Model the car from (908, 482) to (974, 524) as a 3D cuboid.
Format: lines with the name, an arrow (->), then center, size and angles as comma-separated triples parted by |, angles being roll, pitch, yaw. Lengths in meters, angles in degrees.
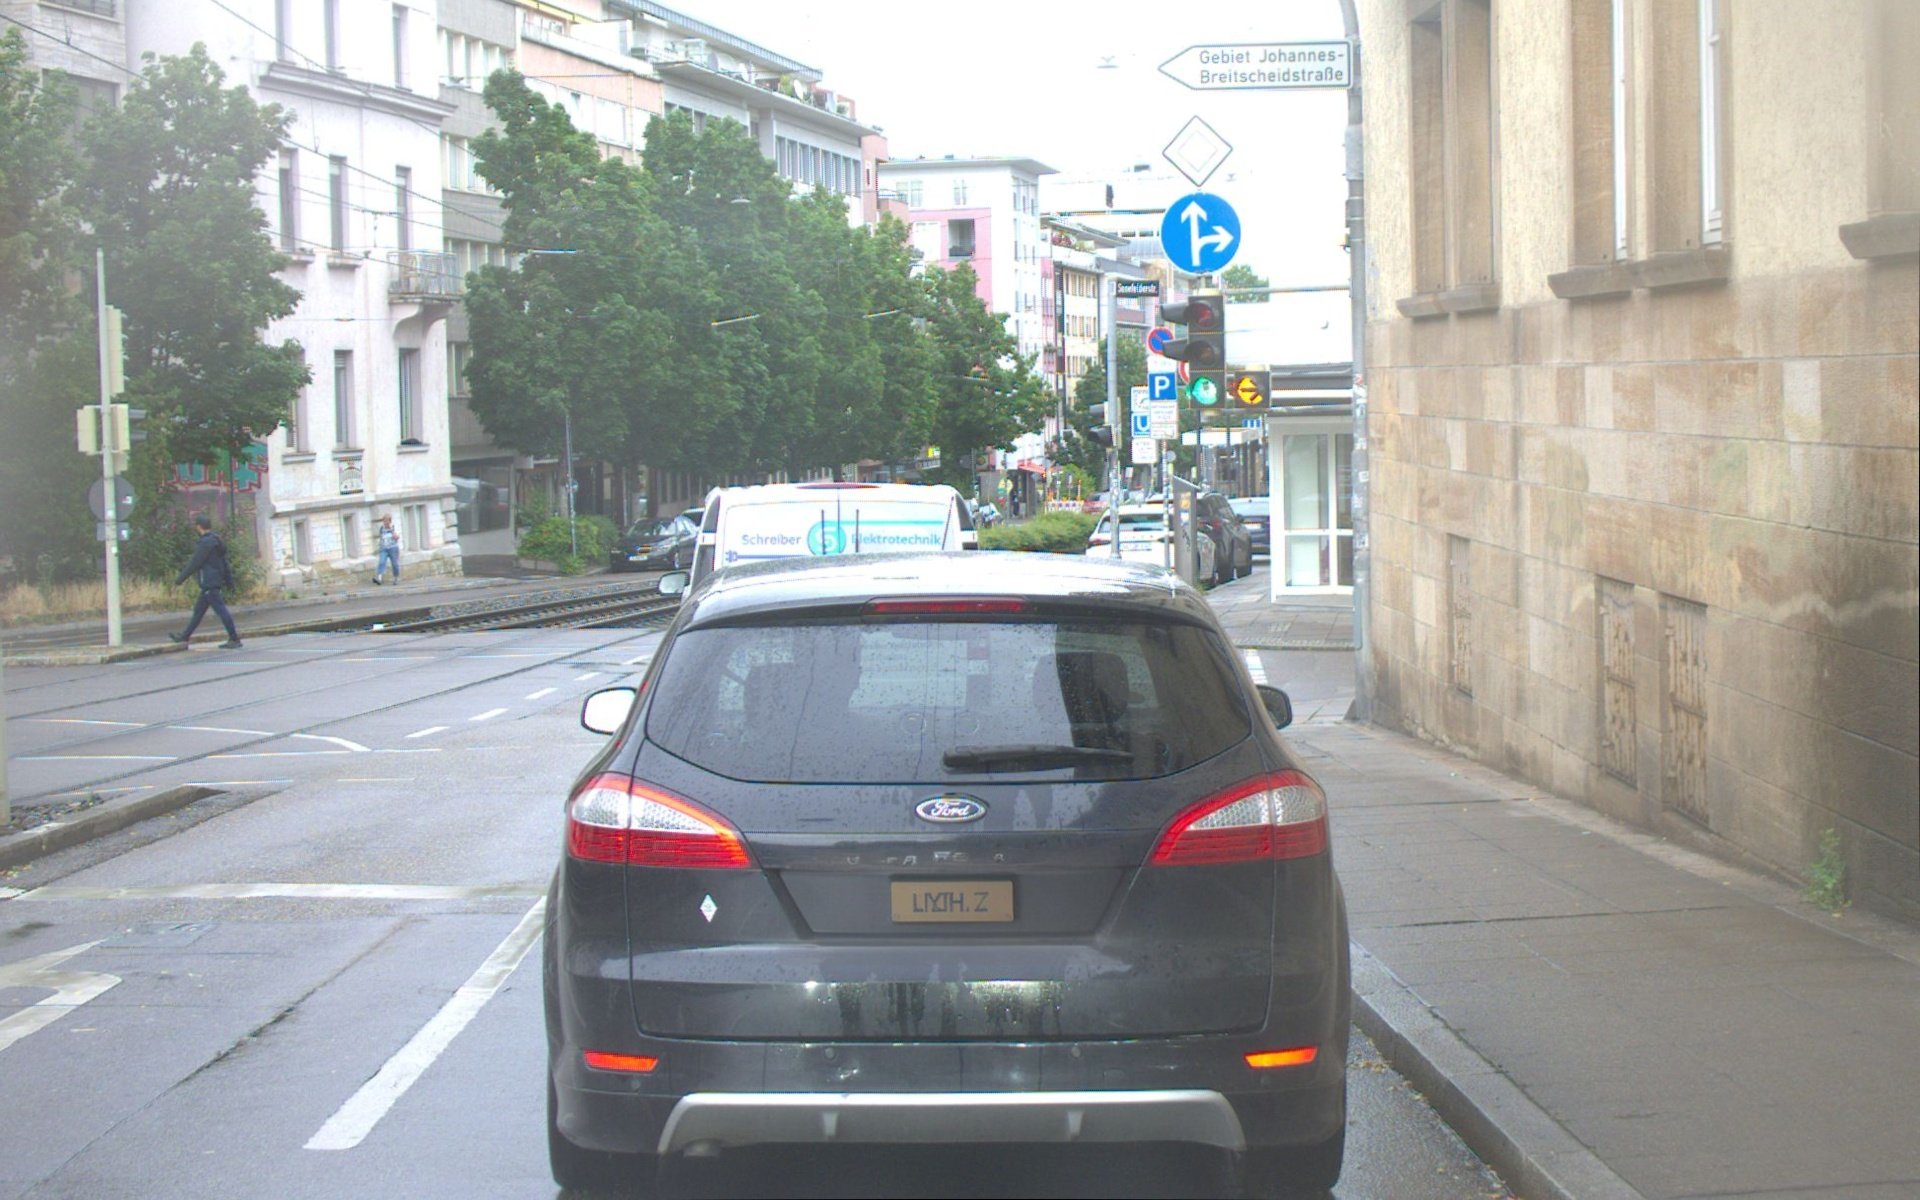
car -> -0.743, -3.904, 138.711 | 1.856, 1.631, 4.933 | 0, 1, 10

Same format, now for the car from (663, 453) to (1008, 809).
car -> -0.787, 0.157, 22.328 | 1.988, 2.053, 4.645 | 1, 1, -2

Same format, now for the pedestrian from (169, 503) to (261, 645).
pedestrian -> -9.720, -0.342, 44.885 | 0.930, 1.823, 0.959 | 1, 0, 2

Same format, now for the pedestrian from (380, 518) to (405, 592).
pedestrian -> -12.706, -1.003, 76.954 | 0.467, 1.646, 0.582 | 1, 0, -2

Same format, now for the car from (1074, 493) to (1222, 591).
car -> 3.075, -0.929, 55.429 | 1.802, 1.450, 4.585 | -2, 1, 10

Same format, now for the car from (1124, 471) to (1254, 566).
car -> 4.176, -1.451, 62.143 | 1.846, 1.627, 4.585 | -1, 1, 10

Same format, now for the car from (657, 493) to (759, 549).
car -> -7.255, -2.263, 99.369 | 1.856, 1.543, 4.719 | 0, 1, 10

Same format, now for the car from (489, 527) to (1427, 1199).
car -> -0.034, 0.594, 8.804 | 1.842, 1.502, 4.000 | 1, 1, -1

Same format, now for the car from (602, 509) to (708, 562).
car -> -8.250, -1.747, 93.395 | 1.694, 1.373, 4.719 | 0, 0, 10
